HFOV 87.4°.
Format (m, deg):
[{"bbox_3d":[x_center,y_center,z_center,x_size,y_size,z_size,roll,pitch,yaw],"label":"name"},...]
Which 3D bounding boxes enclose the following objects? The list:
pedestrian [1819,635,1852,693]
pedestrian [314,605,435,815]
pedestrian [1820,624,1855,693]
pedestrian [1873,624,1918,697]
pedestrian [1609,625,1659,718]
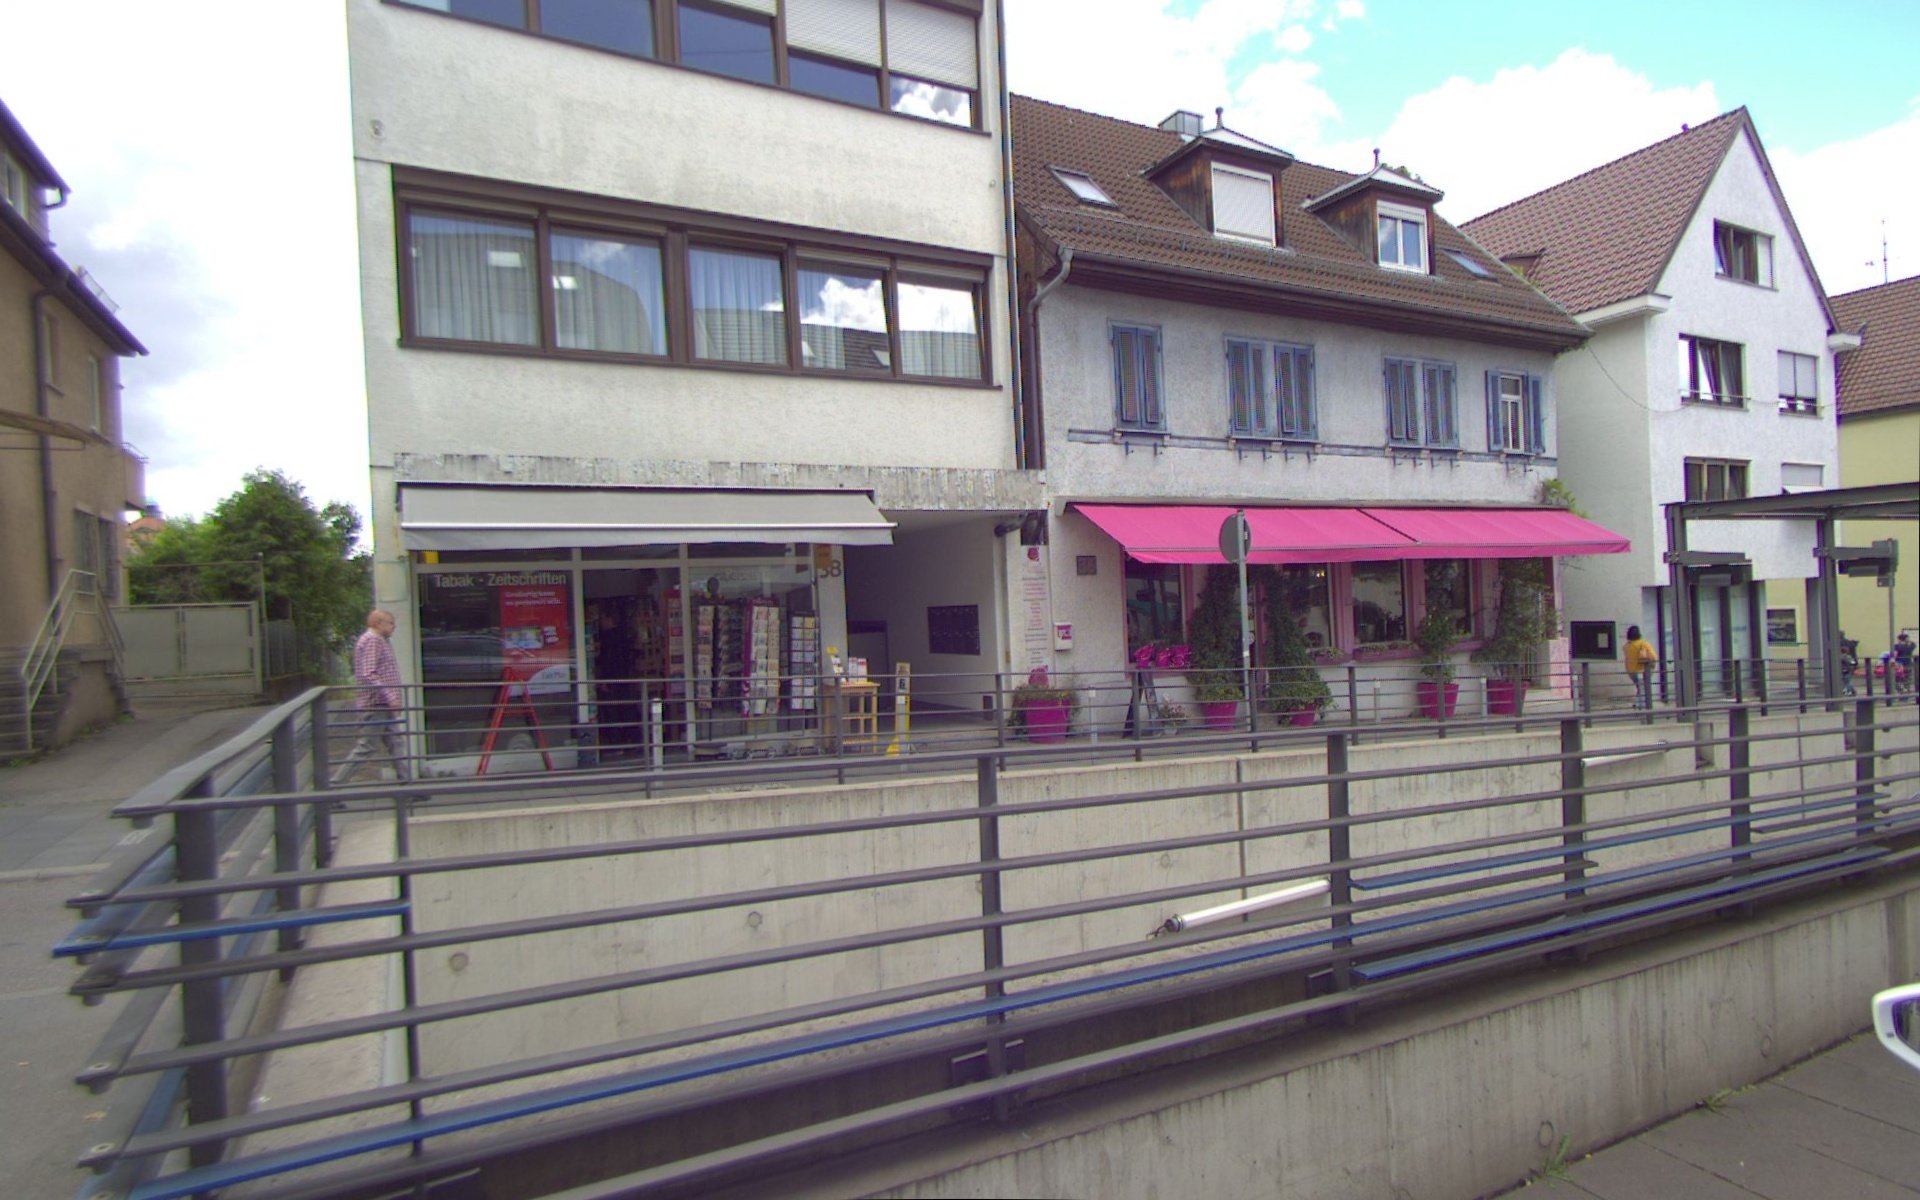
[{"bbox_3d":[22.178,1.615,25.438,0.527,1.440,0.455,1,0,-27],"label":"pedestrian"},{"bbox_3d":[-5.029,0.913,8.680,0.816,1.711,0.637,1,-2,-25],"label":"pedestrian"},{"bbox_3d":[22.661,1.497,25.940,0.559,1.711,0.606,1,0,-44],"label":"pedestrian"},{"bbox_3d":[22.640,1.447,24.310,0.671,1.711,0.622,1,0,-30],"label":"pedestrian"},{"bbox_3d":[12.776,1.335,19.055,0.570,1.711,0.575,1,0,-30],"label":"pedestrian"}]
